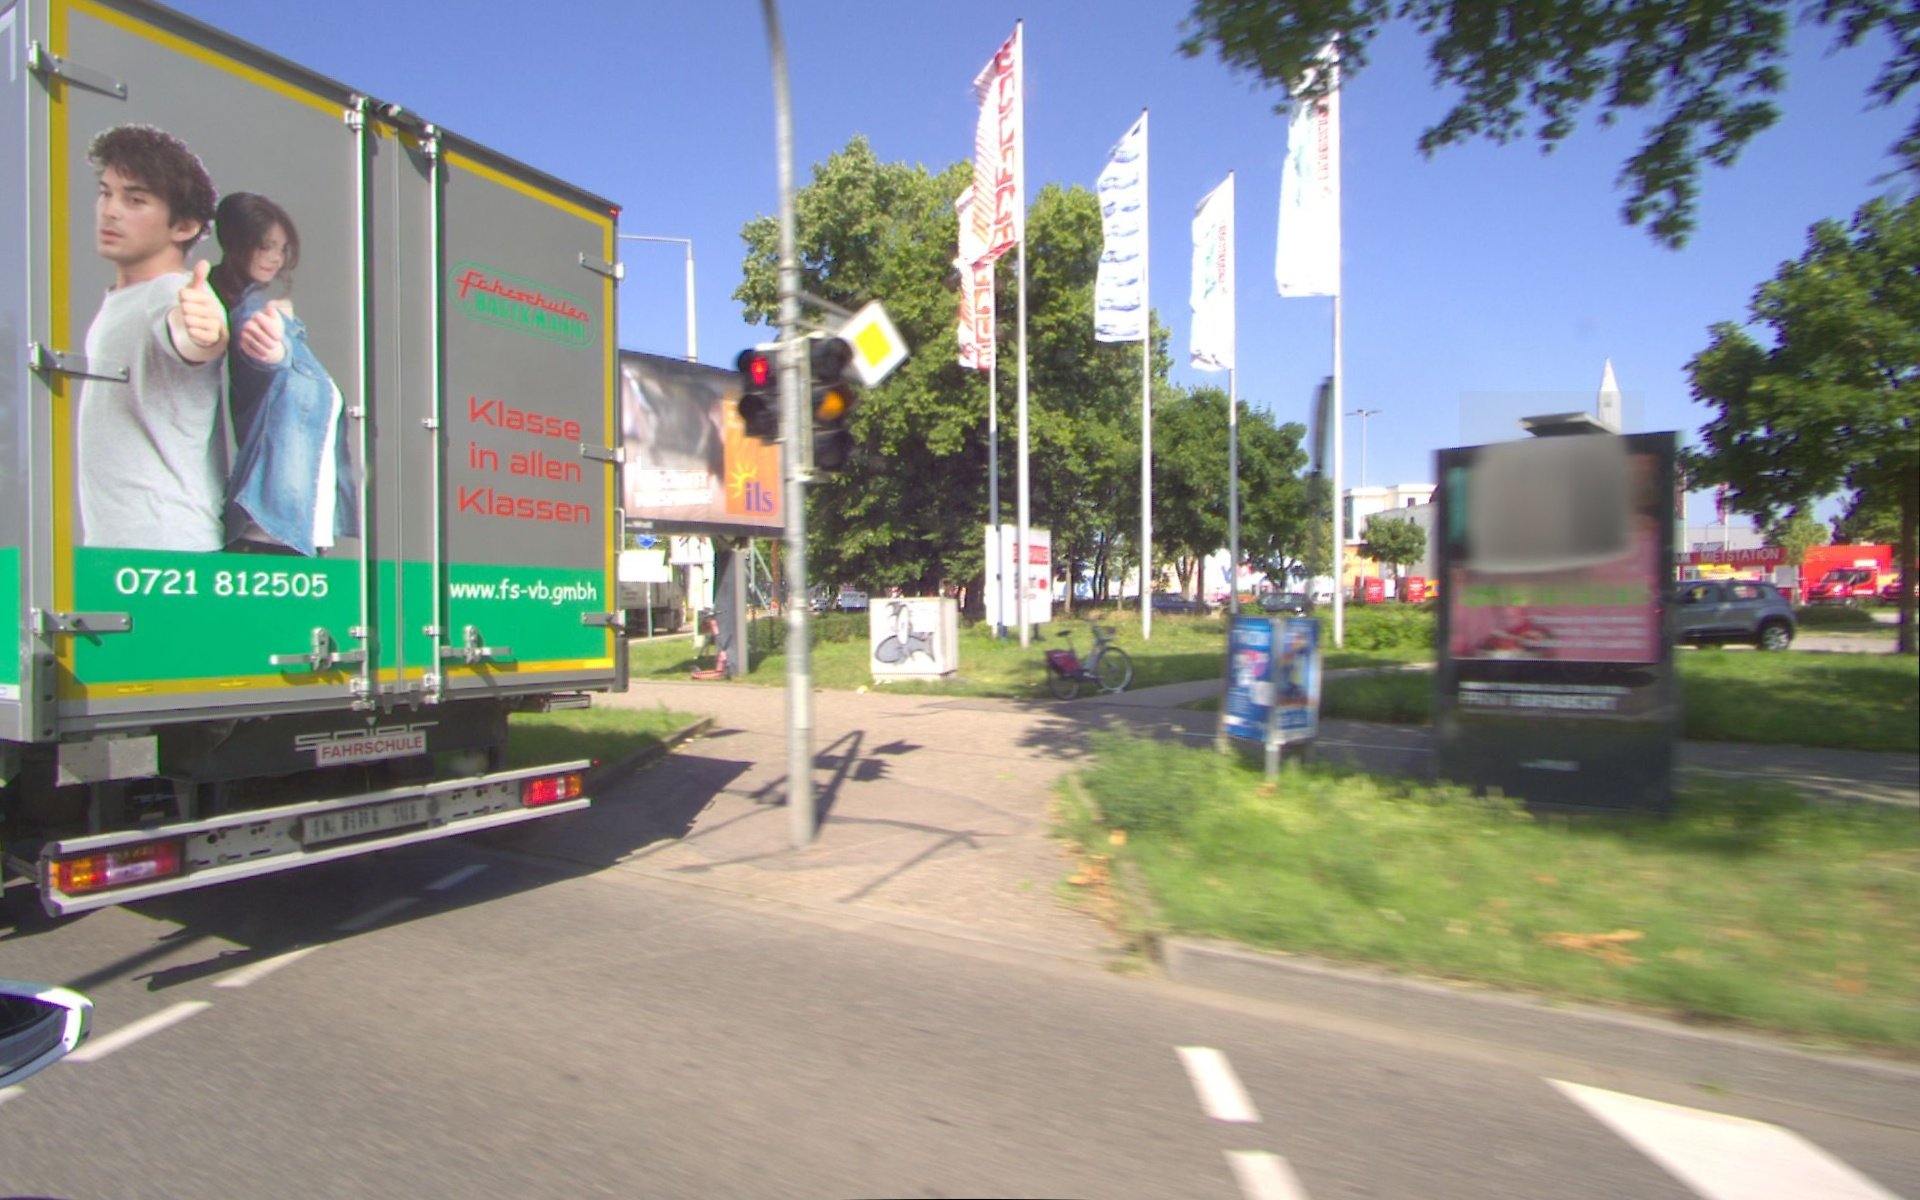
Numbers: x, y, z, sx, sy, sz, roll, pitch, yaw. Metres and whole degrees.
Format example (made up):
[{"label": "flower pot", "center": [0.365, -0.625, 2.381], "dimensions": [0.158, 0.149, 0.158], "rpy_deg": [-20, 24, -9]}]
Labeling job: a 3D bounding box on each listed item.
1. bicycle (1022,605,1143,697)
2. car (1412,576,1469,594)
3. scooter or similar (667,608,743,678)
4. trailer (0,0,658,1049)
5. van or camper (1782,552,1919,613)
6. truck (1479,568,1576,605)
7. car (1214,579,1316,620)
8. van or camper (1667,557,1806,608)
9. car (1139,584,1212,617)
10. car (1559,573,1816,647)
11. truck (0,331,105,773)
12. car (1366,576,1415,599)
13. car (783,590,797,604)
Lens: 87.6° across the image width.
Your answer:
[{"label": "bicycle", "center": [1.720, 0.674, 13.859], "dimensions": [1.887, 1.154, 0.492], "rpy_deg": [-2, 0, -40]}, {"label": "car", "center": [51.067, -1.550, 106.513], "dimensions": [5.045, 1.777, 2.001], "rpy_deg": [0, -2, 3]}, {"label": "scooter or similar", "center": [-4.428, 0.730, 17.372], "dimensions": [1.353, 1.164, 0.434], "rpy_deg": [0, 1, 31]}, {"label": "trailer", "center": [-5.620, -0.451, 6.351], "dimensions": [7.625, 3.927, 2.731], "rpy_deg": [-1, 0, 32]}, {"label": "van or camper", "center": [46.443, -0.872, 51.398], "dimensions": [7.146, 2.979, 2.001], "rpy_deg": [0, -1, -4]}, {"label": "truck", "center": [39.139, -0.900, 69.153], "dimensions": [5.669, 2.443, 2.001], "rpy_deg": [0, -1, -3]}, {"label": "car", "center": [13.282, -0.013, 43.775], "dimensions": [3.922, 1.705, 2.001], "rpy_deg": [0, -2, 5]}, {"label": "van or camper", "center": [47.072, -1.049, 60.753], "dimensions": [7.146, 2.979, 2.001], "rpy_deg": [0, -1, -4]}, {"label": "car", "center": [12.462, 0.049, 58.006], "dimensions": [3.922, 1.861, 2.001], "rpy_deg": [0, -2, 5]}, {"label": "car", "center": [14.871, 0.231, 20.639], "dimensions": [3.922, 1.438, 1.907], "rpy_deg": [0, -2, -2]}, {"label": "truck", "center": [-12.497, -0.341, 10.706], "dimensions": [8.599, 3.940, 2.724], "rpy_deg": [-1, -1, 33]}, {"label": "car", "center": [41.881, -1.211, 97.396], "dimensions": [3.925, 2.039, 1.999], "rpy_deg": [0, -2, -11]}, {"label": "car", "center": [-26.487, -0.456, 156.290], "dimensions": [1.961, 2.039, 4.001], "rpy_deg": [0, -2, -6]}]
